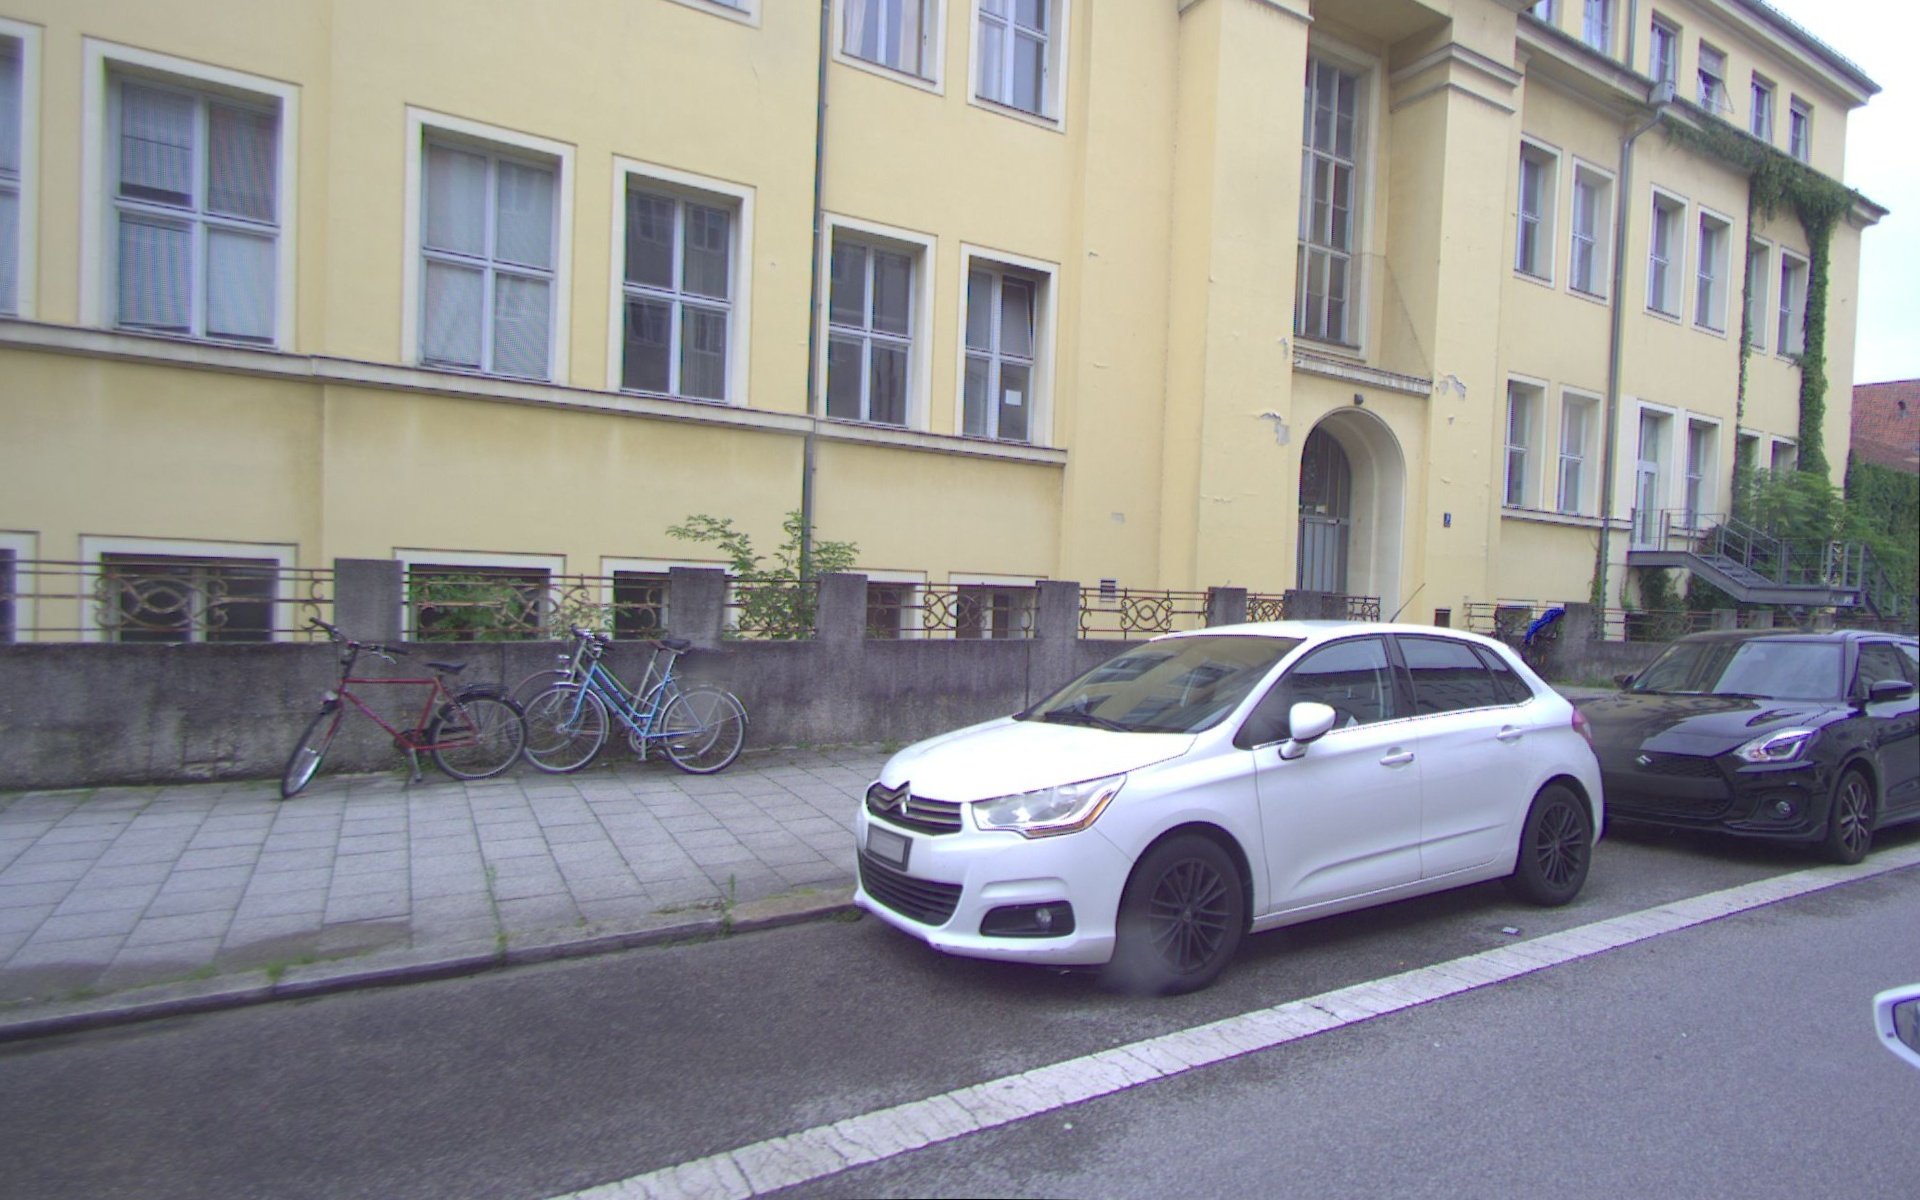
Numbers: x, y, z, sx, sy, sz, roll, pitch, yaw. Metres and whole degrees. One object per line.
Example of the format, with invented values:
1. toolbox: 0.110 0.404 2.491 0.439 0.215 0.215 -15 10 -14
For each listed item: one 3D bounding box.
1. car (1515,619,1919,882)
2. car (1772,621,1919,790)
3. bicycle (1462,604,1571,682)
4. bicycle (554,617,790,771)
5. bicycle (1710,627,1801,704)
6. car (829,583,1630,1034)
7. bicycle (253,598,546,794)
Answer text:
1. car: 6.121 0.926 7.540 3.939 1.515 1.672 1 -2 -30
2. car: 10.227 1.003 10.309 3.927 1.525 1.672 1 -2 -30
3. bicycle: 9.942 0.746 18.001 0.572 1.205 1.549 2 4 -30
4. bicycle: -2.242 0.719 7.894 1.690 1.092 0.585 2 3 -18
5. bicycle: 13.397 1.091 16.906 1.543 1.205 0.574 2 4 -30
6. car: 1.518 0.779 5.240 4.039 1.547 1.715 1 -2 -30
7. bicycle: -3.823 0.627 6.983 1.695 1.214 0.583 1 3 -27
